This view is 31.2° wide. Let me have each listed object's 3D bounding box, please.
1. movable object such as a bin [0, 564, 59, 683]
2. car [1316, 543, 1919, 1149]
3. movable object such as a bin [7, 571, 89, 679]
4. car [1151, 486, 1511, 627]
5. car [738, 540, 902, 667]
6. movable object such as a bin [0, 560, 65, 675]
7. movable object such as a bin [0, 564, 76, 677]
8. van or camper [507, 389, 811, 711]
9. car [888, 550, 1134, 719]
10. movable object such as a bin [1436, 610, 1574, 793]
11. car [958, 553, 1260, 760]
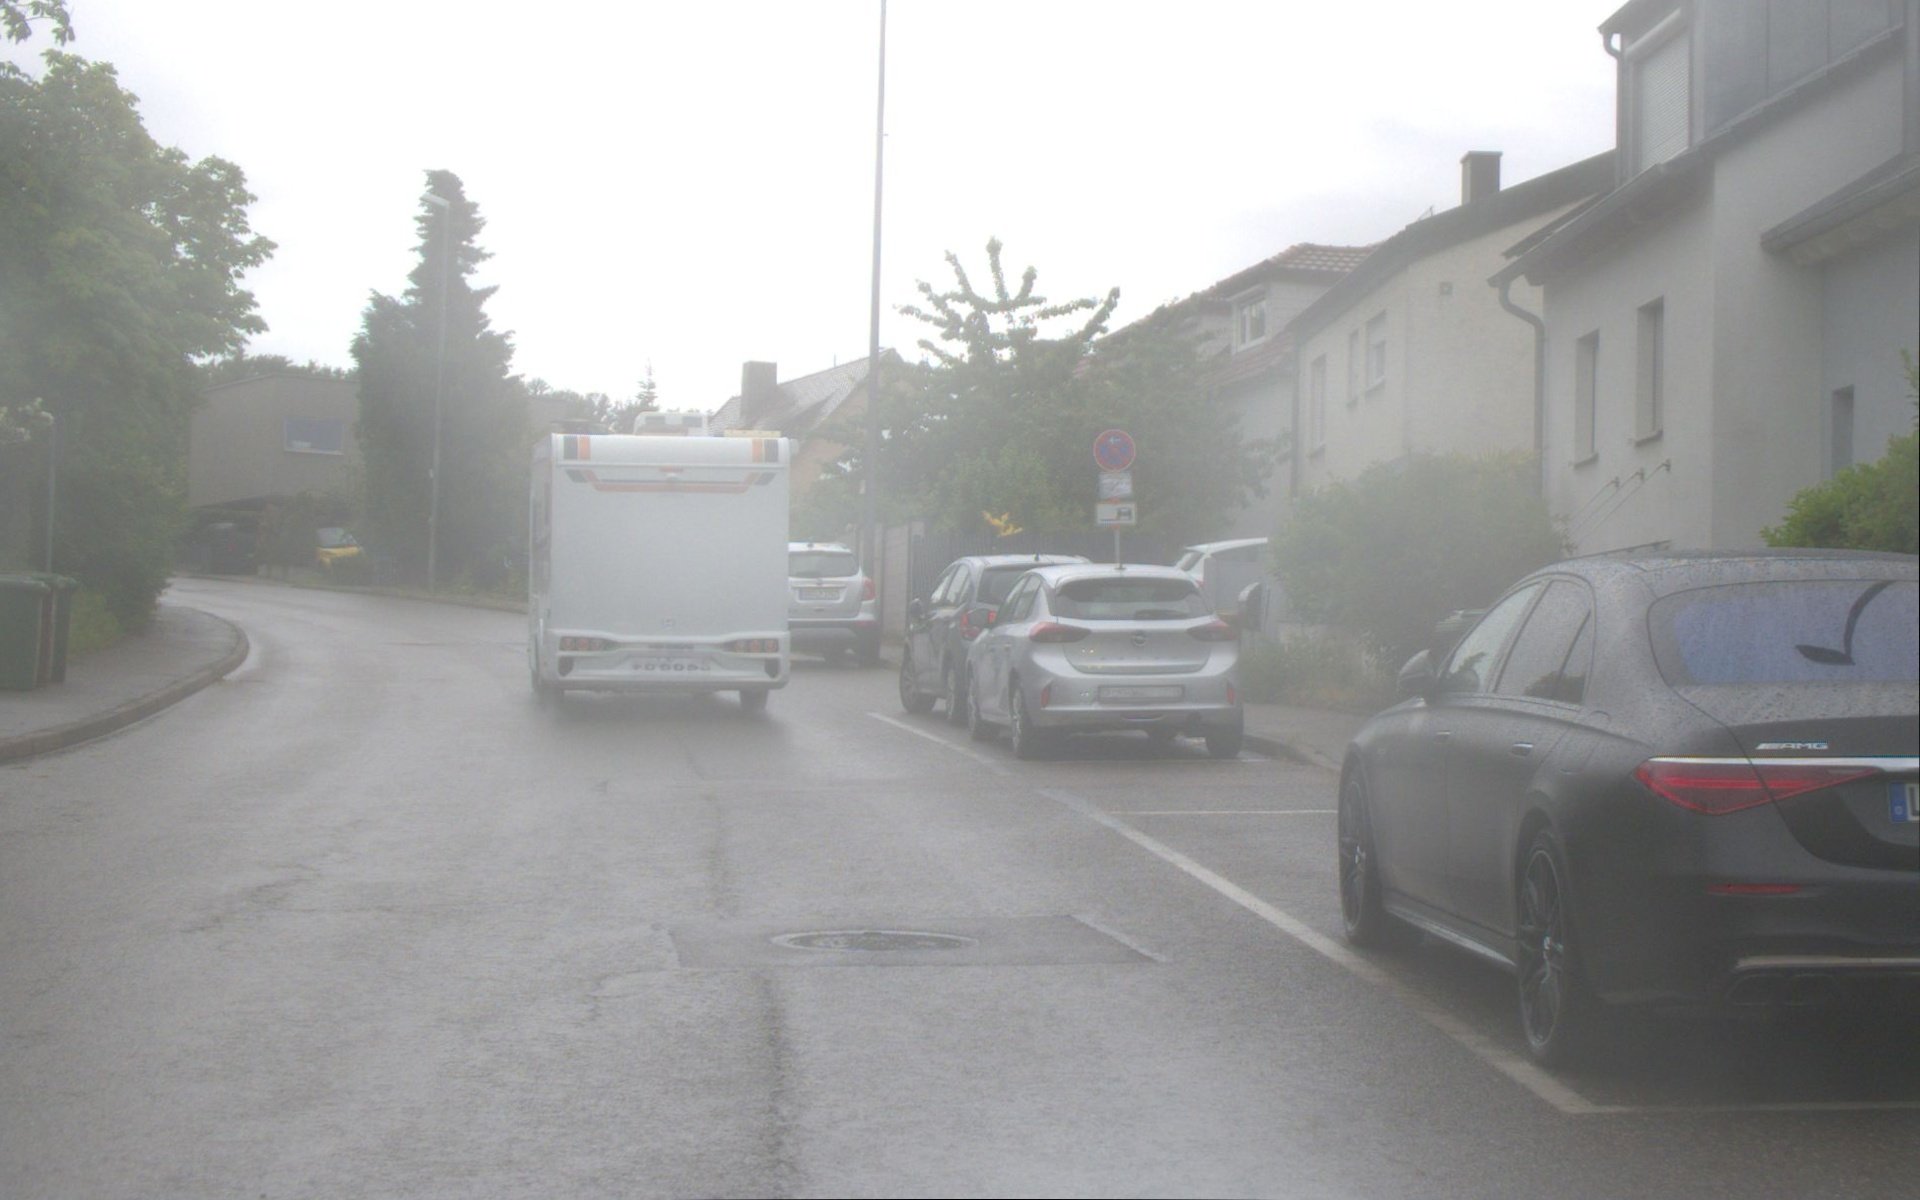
[{"bbox_3d":[-8.819,0.211,32.090,0.768,1.093,0.738,0,1,-13],"label":"movable object such as a bin"},{"bbox_3d":[2.478,0.589,11.394,1.857,1.522,5.064,-1,1,-2],"label":"car"},{"bbox_3d":[-9.102,0.247,34.337,0.768,1.064,0.691,0,1,-13],"label":"movable object such as a bin"},{"bbox_3d":[4.456,-0.502,41.643,3.986,1.584,1.935,1,-1,-6],"label":"car"},{"bbox_3d":[-1.949,0.010,46.637,1.804,1.621,4.289,-1,1,-8],"label":"car"},{"bbox_3d":[-8.960,0.160,32.858,0.768,1.093,0.738,0,1,-13],"label":"movable object such as a bin"},{"bbox_3d":[-9.049,0.198,33.610,0.768,1.093,0.672,0,1,-13],"label":"movable object such as a bin"},{"bbox_3d":[-3.134,-0.478,34.431,2.539,2.915,5.949,1,0,-9],"label":"van or camper"},{"bbox_3d":[0.420,0.278,32.329,1.659,1.462,3.764,-1,1,-9],"label":"car"},{"bbox_3d":[3.252,0.600,20.550,0.676,1.064,0.645,0,1,-5],"label":"movable object such as a bin"},{"bbox_3d":[1.088,0.378,27.130,1.768,1.462,4.235,-1,1,-6],"label":"car"}]
